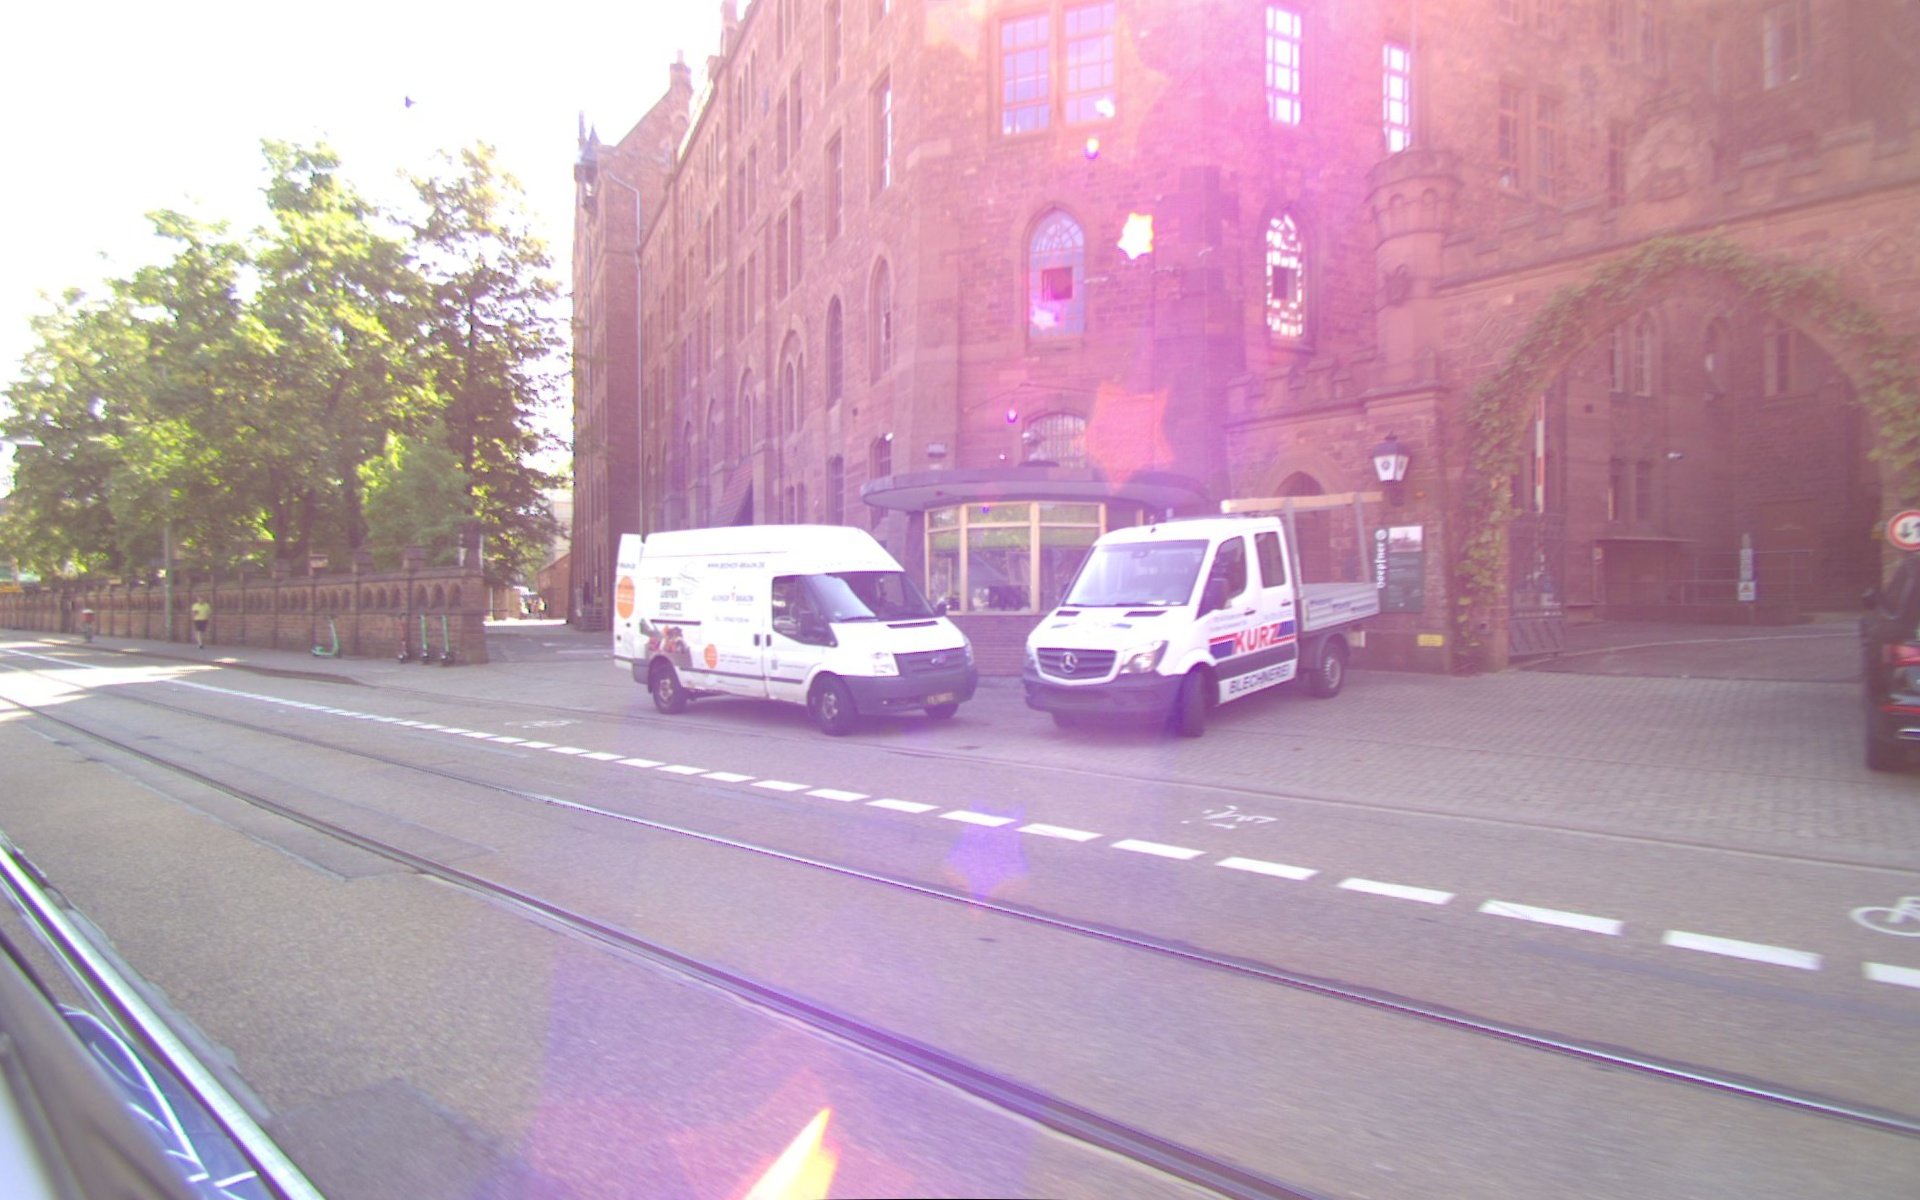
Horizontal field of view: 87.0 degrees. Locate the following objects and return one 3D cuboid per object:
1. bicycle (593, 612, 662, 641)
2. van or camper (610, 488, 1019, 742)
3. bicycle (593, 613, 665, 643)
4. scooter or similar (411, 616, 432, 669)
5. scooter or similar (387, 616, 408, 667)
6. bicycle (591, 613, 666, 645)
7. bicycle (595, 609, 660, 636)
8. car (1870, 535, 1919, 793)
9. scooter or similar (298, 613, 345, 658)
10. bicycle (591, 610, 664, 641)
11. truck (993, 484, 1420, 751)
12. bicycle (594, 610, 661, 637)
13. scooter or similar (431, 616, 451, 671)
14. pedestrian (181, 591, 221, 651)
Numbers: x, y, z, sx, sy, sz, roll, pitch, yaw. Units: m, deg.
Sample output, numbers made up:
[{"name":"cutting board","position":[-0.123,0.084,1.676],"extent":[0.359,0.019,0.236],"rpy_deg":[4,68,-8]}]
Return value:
[{"name":"bicycle","position":[-13.566,1.062,41.254],"extent":[2.642,1.105,0.904],"rpy_deg":[-1,0,-20]},{"name":"van or camper","position":[-2.190,0.174,13.535],"extent":[5.953,2.695,2.090],"rpy_deg":[-1,0,42]},{"name":"bicycle","position":[-13.043,1.083,39.849],"extent":[2.642,1.105,0.904],"rpy_deg":[-1,0,-20]},{"name":"scooter or similar","position":[-12.687,0.985,23.852],"extent":[0.334,1.187,1.182],"rpy_deg":[-1,0,-24]},{"name":"scooter or similar","position":[-13.631,0.995,24.549],"extent":[0.334,1.187,1.182],"rpy_deg":[-1,0,-24]},{"name":"bicycle","position":[-12.397,1.066,37.835],"extent":[2.642,1.105,0.904],"rpy_deg":[-1,0,-20]},{"name":"bicycle","position":[-14.413,0.979,43.853],"extent":[2.642,1.105,0.904],"rpy_deg":[-1,0,-20]},{"name":"car","position":[8.621,0.349,8.020],"extent":[1.999,1.756,4.093],"rpy_deg":[-1,3,41]},{"name":"scooter or similar","position":[-17.101,0.942,27.104],"extent":[1.309,1.187,0.418],"rpy_deg":[-1,0,25]},{"name":"bicycle","position":[-12.732,0.963,38.766],"extent":[2.642,1.105,0.904],"rpy_deg":[-1,0,-20]},{"name":"truck","position":[3.382,0.020,12.630],"extent":[6.249,2.557,2.132],"rpy_deg":[-5,1,-45]},{"name":"bicycle","position":[-14.075,0.976,42.813],"extent":[2.642,1.105,0.904],"rpy_deg":[-1,0,-20]},{"name":"scooter or similar","position":[-11.838,0.976,23.100],"extent":[0.334,1.187,1.182],"rpy_deg":[-1,0,-24]},{"name":"pedestrian","position":[-26.190,0.697,34.917],"extent":[0.982,2.029,0.855],"rpy_deg":[-1,0,38]}]
